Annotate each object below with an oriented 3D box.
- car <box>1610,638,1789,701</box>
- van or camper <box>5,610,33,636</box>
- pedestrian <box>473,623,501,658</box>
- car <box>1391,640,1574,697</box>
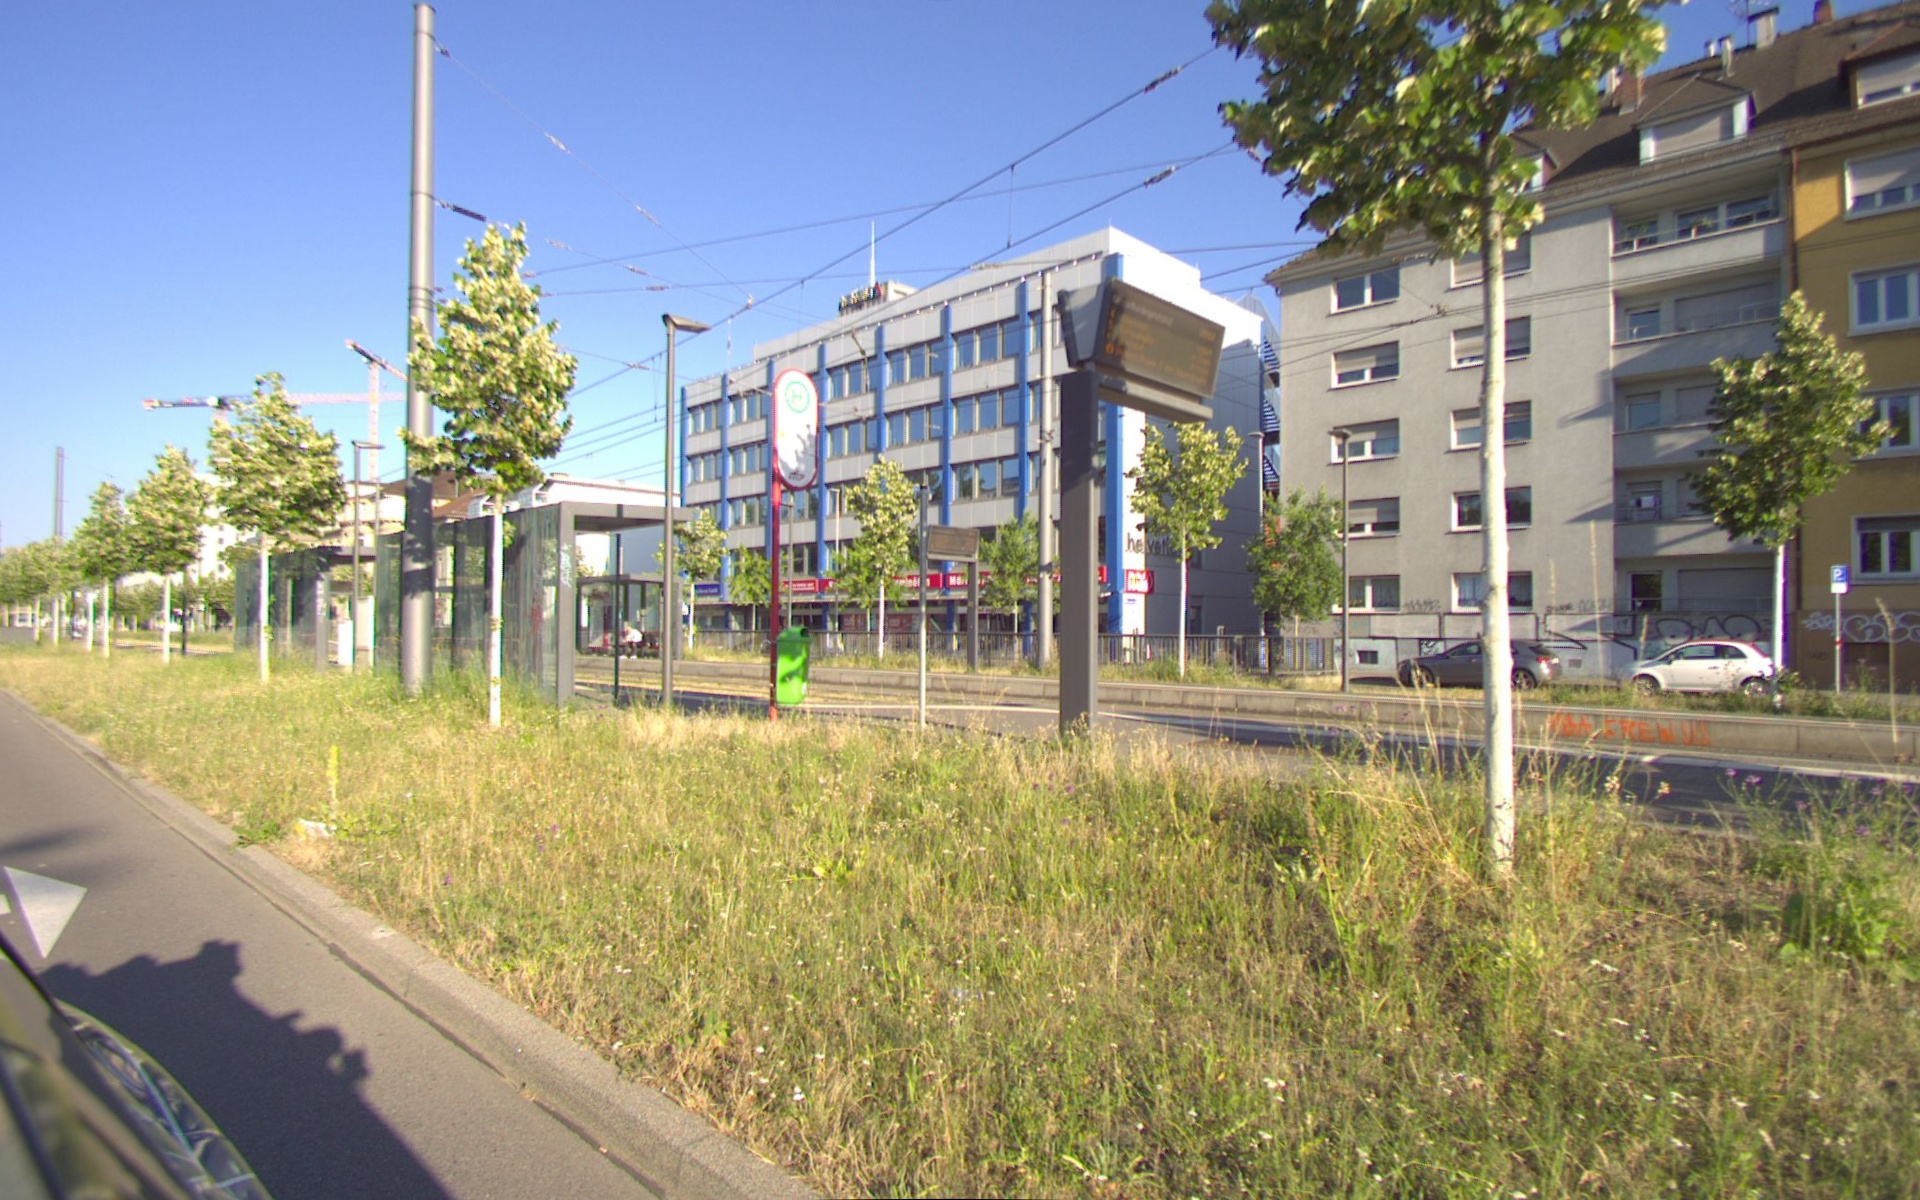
[{"bbox_3d":[19.098,1.739,26.200,3.553,1.497,1.728,-2,-3,43],"label":"car"},{"bbox_3d":[-118.556,2.882,127.513,2.475,3.192,7.482,2,-2,-43],"label":"van or camper"},{"bbox_3d":[-19.957,1.705,42.719,0.804,1.421,0.829,-2,-3,43],"label":"pedestrian"},{"bbox_3d":[15.316,1.950,29.815,4.431,1.519,1.972,-2,-3,43],"label":"car"}]
